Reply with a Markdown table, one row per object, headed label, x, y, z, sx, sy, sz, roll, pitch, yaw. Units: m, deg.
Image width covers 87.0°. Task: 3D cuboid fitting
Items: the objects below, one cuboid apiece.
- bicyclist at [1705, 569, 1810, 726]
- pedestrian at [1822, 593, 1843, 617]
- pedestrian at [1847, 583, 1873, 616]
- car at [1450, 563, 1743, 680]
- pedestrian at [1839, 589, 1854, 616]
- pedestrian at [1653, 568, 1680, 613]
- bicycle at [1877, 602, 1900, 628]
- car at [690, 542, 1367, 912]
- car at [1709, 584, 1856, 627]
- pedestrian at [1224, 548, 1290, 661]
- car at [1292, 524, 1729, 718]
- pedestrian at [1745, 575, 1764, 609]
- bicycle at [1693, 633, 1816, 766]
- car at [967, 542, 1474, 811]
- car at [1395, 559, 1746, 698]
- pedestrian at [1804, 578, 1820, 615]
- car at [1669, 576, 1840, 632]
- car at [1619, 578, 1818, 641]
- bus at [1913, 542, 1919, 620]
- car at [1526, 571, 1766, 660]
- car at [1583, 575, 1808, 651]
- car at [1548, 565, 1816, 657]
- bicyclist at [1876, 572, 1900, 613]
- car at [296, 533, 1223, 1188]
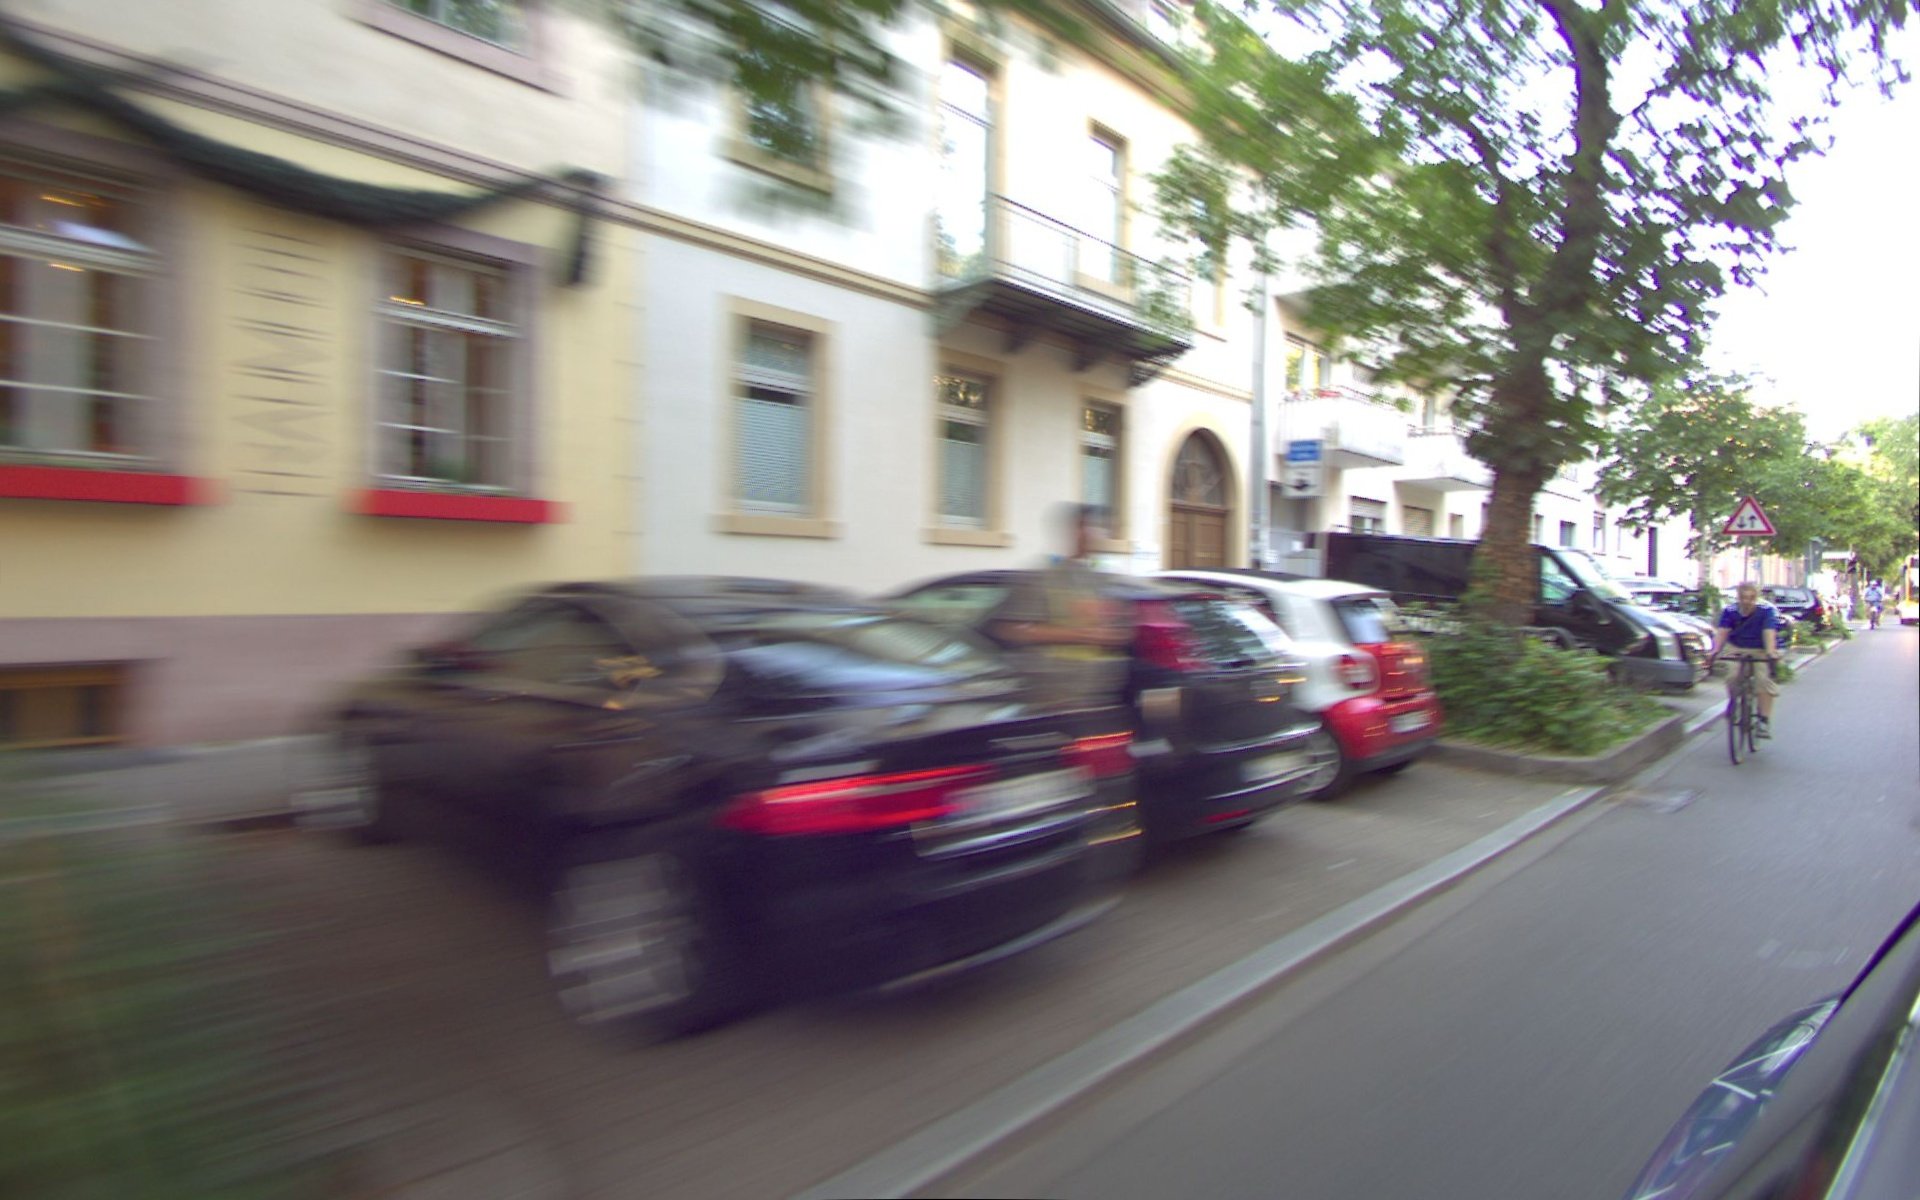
| label | x | y | z | sx | sy | sz | roll | pitch | yaw |
| --- | --- | --- | --- | --- | --- | --- | --- | --- | --- |
| bicyclist | 7.421 | 0.416 | 9.412 | 0.672 | 1.381 | 0.764 | -1 | -1 | 45 |
| pedestrian | 43.251 | 0.255 | 50.155 | 0.534 | 1.159 | 0.494 | 2 | 2 | -9 |
| pedestrian | 43.273 | -0.020 | 48.680 | 0.591 | 1.530 | 0.717 | 3 | 2 | 15 |
| car | 10.976 | 0.266 | 17.629 | 3.968 | 1.597 | 1.822 | 6 | 5 | 44 |
| pedestrian | 43.465 | 0.118 | 49.612 | 0.449 | 1.277 | 0.483 | 3 | 2 | 38 |
| pedestrian | 28.729 | -0.398 | 41.154 | 1.048 | 1.817 | 0.697 | 0 | 1 | -45 |
| bicycle | 36.231 | 0.587 | 39.490 | 0.635 | 0.996 | 1.951 | -2 | -2 | 42 |
| car | 0.199 | 0.467 | 6.455 | 3.989 | 1.455 | 1.897 | 6 | 5 | 43 |
| car | 29.860 | 0.156 | 36.800 | 1.765 | 1.455 | 3.989 | 0 | 1 | -44 |
| pedestrian | 4.373 | 0.063 | 14.909 | 0.669 | 1.619 | 0.725 | -1 | 0 | 44 |
| car | 7.161 | 0.100 | 13.557 | 4.693 | 2.035 | 2.005 | 6 | 5 | 44 |
| pedestrian | 44.749 | -0.452 | 57.012 | 0.697 | 1.878 | 1.033 | 3 | 1 | 42 |
| bicycle | 7.345 | 0.853 | 9.322 | 0.672 | 1.043 | 1.945 | -1 | -1 | 44 |
| car | 1.976 | 0.412 | 8.410 | 1.686 | 1.597 | 3.684 | 0 | 5 | -44 |
| car | 9.073 | 0.303 | 15.261 | 4.157 | 1.597 | 1.939 | 6 | 5 | 43 |
| pedestrian | 42.400 | -0.190 | 50.363 | 0.542 | 1.796 | 0.567 | 3 | 2 | 40 |
| car | 25.341 | 0.073 | 32.359 | 1.929 | 1.637 | 4.112 | 0 | 1 | -44 |
| car | 21.362 | 0.206 | 28.623 | 4.316 | 1.514 | 1.766 | 3 | 3 | 44 |
| bus | 44.730 | -0.849 | 45.513 | 2.661 | 3.235 | 11.711 | -1 | 0 | 43 |
| car | 14.004 | 0.245 | 20.795 | 3.795 | 1.440 | 1.671 | 6 | 5 | 44 |
| car | 17.618 | 0.242 | 24.378 | 1.788 | 1.446 | 4.081 | 0 | 5 | -43 |
| car | 16.023 | 0.162 | 22.645 | 4.593 | 1.597 | 1.914 | 6 | 5 | 44 |
| bicyclist | 36.217 | -0.285 | 39.502 | 0.635 | 1.581 | 0.806 | -2 | -2 | 43 |
| car | -1.291 | 0.511 | 4.563 | 4.402 | 1.410 | 1.857 | 6 | 5 | 43 |
